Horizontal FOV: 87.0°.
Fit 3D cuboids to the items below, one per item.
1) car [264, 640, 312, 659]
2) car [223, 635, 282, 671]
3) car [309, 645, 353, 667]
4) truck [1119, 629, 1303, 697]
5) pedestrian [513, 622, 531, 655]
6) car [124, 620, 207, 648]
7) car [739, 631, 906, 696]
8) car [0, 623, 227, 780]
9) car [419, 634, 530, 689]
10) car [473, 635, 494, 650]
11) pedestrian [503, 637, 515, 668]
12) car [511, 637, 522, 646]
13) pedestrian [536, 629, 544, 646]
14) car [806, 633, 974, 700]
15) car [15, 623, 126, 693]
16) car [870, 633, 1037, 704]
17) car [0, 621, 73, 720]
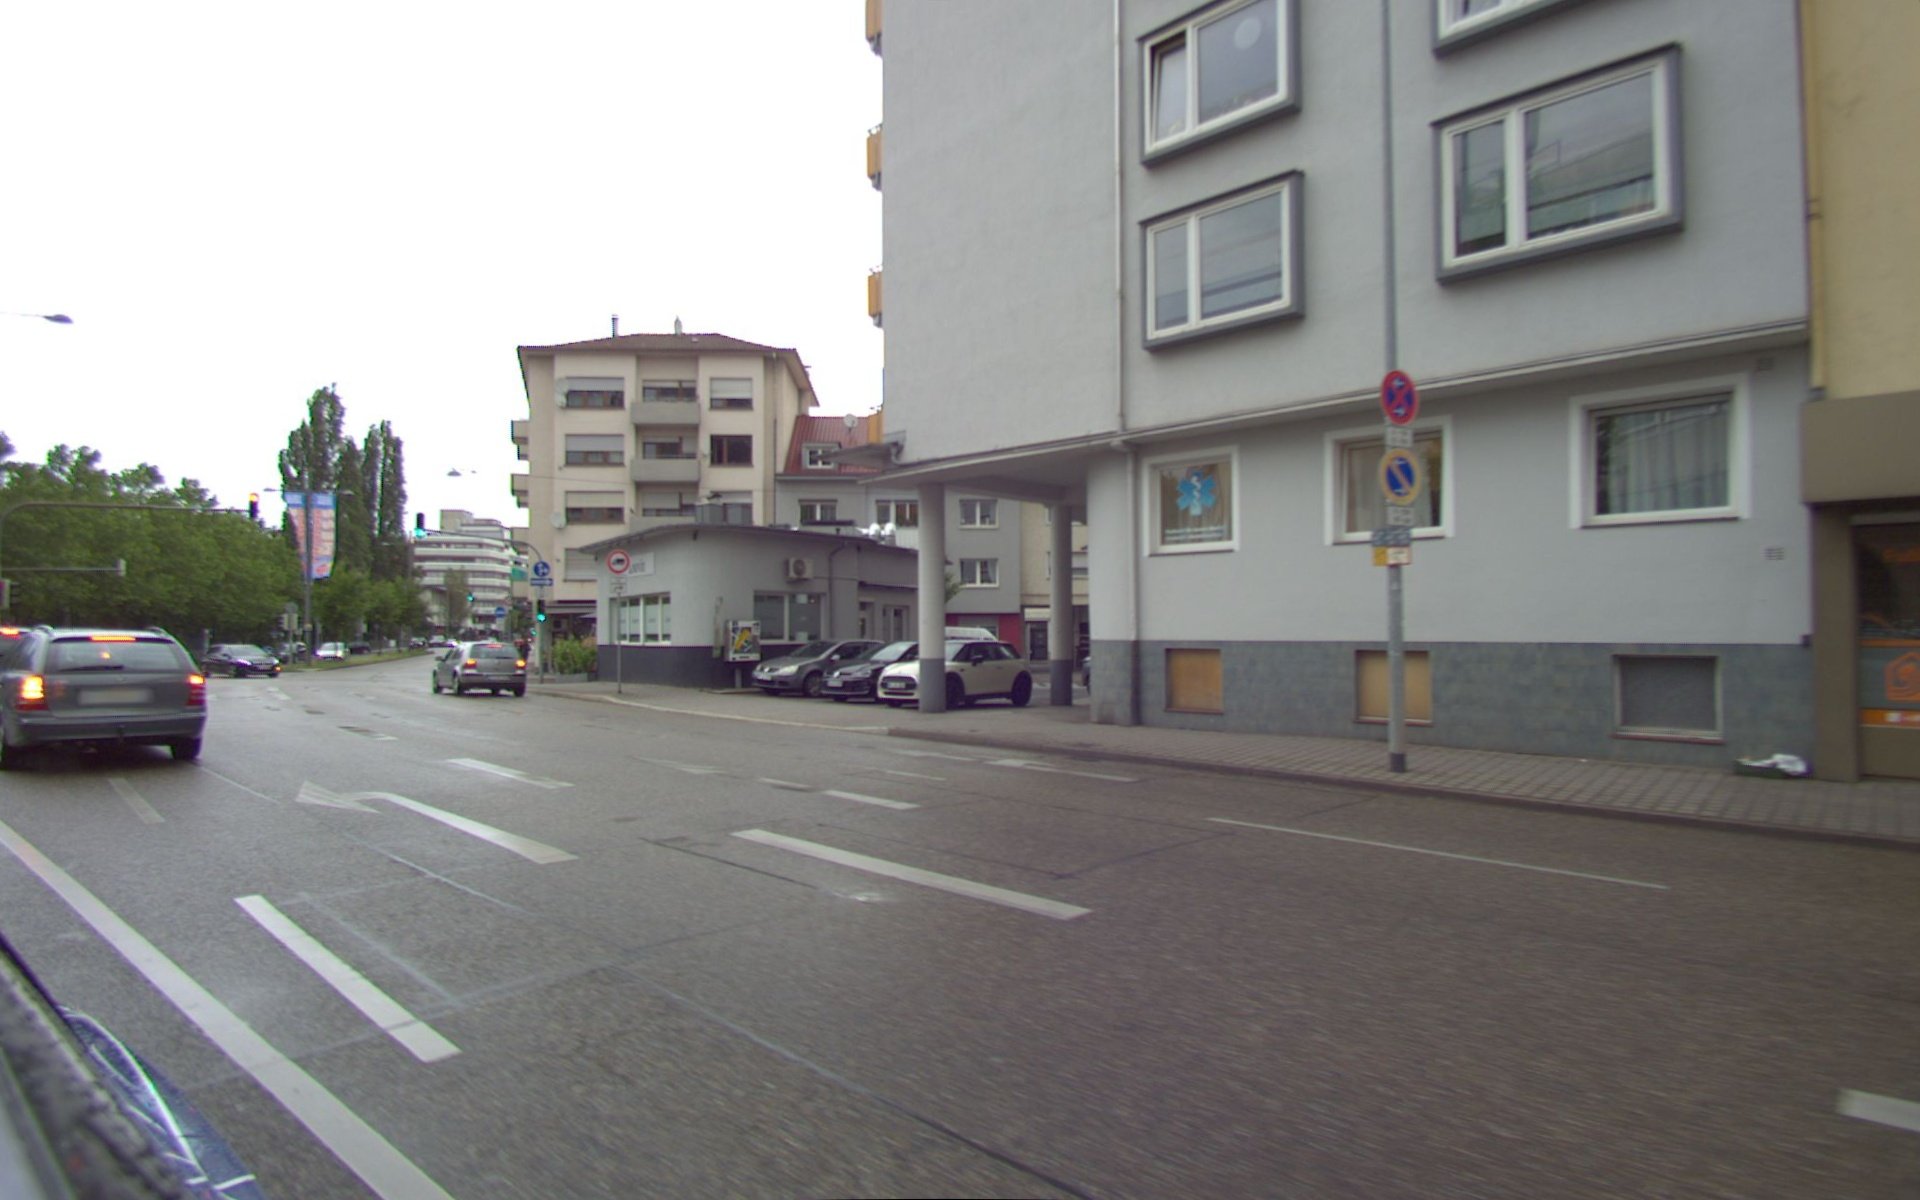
[{"bbox_3d":[-53.795,3.981,81.104,1.866,1.500,4.373,2,-3,-15],"label":"car"},{"bbox_3d":[-31.394,2.321,44.874,1.776,1.445,4.404,0,-2,-40],"label":"car"},{"bbox_3d":[-46.377,4.130,74.689,1.865,1.588,4.374,2,-3,-20],"label":"car"},{"bbox_3d":[7.926,1.972,32.325,5.415,1.883,1.774,1,-3,40],"label":"truck"},{"bbox_3d":[-23.948,2.089,55.342,0.767,1.742,0.662,-3,-2,-18],"label":"pedestrian"},{"bbox_3d":[-63.478,2.689,80.899,4.769,1.957,1.956,-3,-1,-16],"label":"car"},{"bbox_3d":[-3.354,1.608,25.185,1.798,1.431,3.769,0,-4,44],"label":"car"},{"bbox_3d":[-9.952,1.005,11.472,4.411,1.451,1.714,-1,-3,42],"label":"car"},{"bbox_3d":[-13.084,1.661,27.176,1.707,1.377,4.116,2,-5,-40],"label":"car"},{"bbox_3d":[-48.371,4.329,102.786,1.652,1.402,4.165,3,-3,-23],"label":"car"},{"bbox_3d":[-26.020,3.003,58.396,0.446,1.744,0.526,-3,-2,-17],"label":"pedestrian"},{"bbox_3d":[-76.561,7.234,174.677,1.580,1.441,3.958,3,-3,-22],"label":"car"},{"bbox_3d":[-45.929,4.091,110.742,0.552,1.742,0.610,-3,-1,-39],"label":"pedestrian"},{"bbox_3d":[-1.551,1.561,23.427,1.639,1.431,3.714,-2,-5,44],"label":"car"},{"bbox_3d":[-22.641,1.485,25.901,1.732,1.627,4.220,2,-4,-37],"label":"car"},{"bbox_3d":[-0.064,1.459,21.324,1.495,1.348,3.584,-2,-5,42],"label":"car"},{"bbox_3d":[-15.623,1.099,16.408,1.625,1.464,3.992,2,-3,-45],"label":"car"}]
